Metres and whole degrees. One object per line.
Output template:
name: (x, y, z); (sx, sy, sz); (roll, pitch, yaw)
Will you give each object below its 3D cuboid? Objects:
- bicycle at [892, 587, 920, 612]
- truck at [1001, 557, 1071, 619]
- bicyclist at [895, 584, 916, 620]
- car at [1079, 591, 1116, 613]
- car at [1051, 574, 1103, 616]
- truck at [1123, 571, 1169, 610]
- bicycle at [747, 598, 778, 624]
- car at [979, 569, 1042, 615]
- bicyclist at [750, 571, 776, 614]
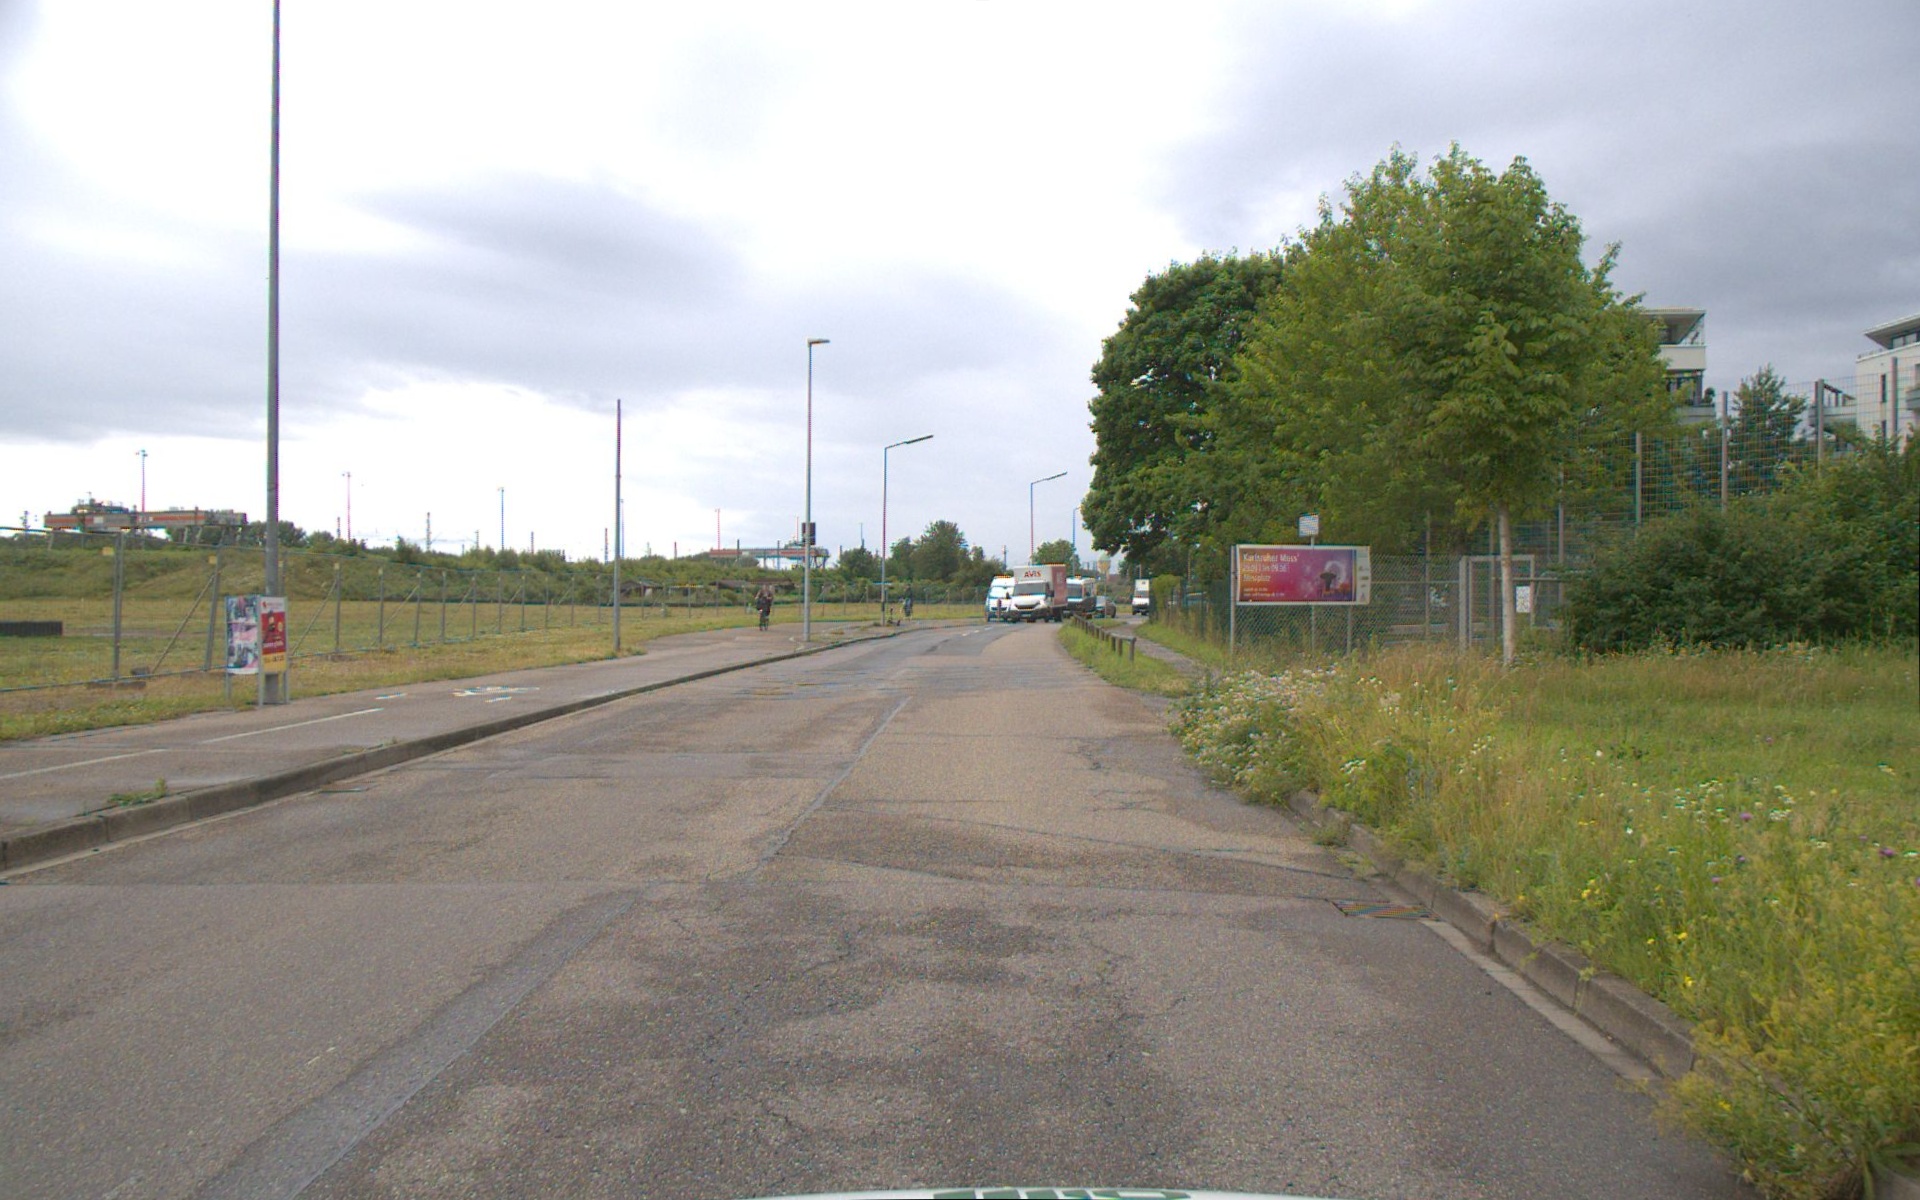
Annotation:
bicycle: (-2.837, -0.038, 86.962); (0.801, 1.225, 2.559); (0, 1, 13)
truck: (4.162, -0.673, 89.000); (2.291, 3.115, 7.503); (-2, 0, 13)
bicyclist: (-2.854, 0.084, 86.888); (0.810, 1.853, 1.331); (0, 1, 13)
car: (9.920, 0.159, 119.064); (1.742, 1.531, 4.002); (0, 1, 18)
car: (8.001, -0.371, 112.536); (2.252, 2.782, 6.096); (0, 1, 17)
truck: (15.670, -0.823, 138.899); (2.409, 3.114, 8.168); (0, 1, 16)
bicycle: (-7.232, 0.396, 60.673); (0.786, 0.923, 2.233); (0, 1, 2)
car: (2.992, -0.473, 96.593); (2.240, 2.600, 6.415); (0, 1, 15)
bicyclist: (-7.225, -0.296, 60.654); (0.766, 1.553, 1.094); (0, 1, 2)
